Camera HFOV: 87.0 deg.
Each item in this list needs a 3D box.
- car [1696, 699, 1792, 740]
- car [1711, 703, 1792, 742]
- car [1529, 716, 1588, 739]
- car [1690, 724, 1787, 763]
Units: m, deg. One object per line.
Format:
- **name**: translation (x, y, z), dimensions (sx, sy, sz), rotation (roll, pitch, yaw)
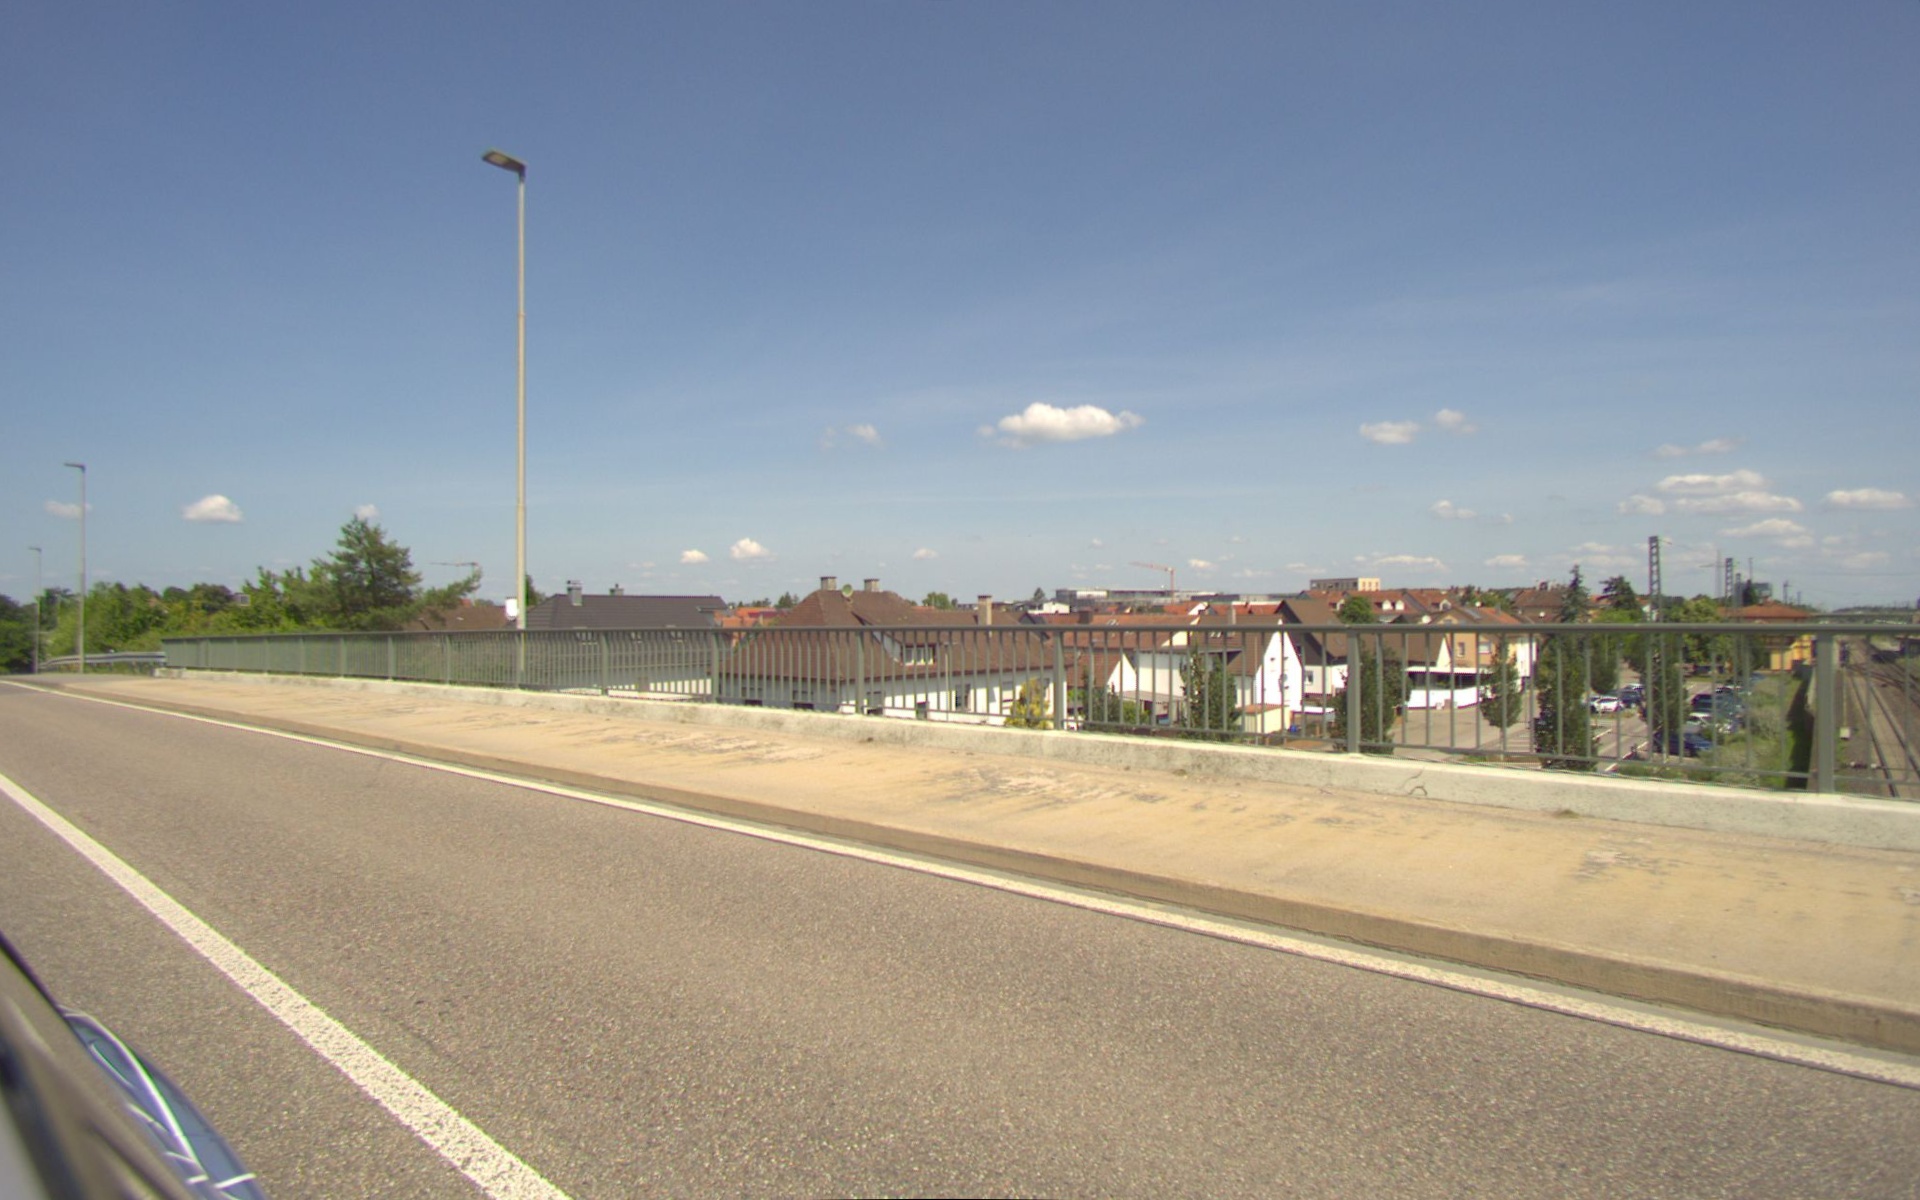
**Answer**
- **car**: translation (54.101, 8.206, 69.925), dimensions (1.966, 2.028, 4.869), rotation (-4, 3, -29)
- **car**: translation (55.950, 8.646, 71.603), dimensions (1.966, 2.028, 4.013), rotation (-5, 3, -29)
- **car**: translation (45.688, 9.698, 77.351), dimensions (3.619, 1.453, 1.847), rotation (-2, -1, 26)
- **car**: translation (51.900, 9.516, 67.586), dimensions (2.172, 1.612, 4.633), rotation (-5, 3, -27)
